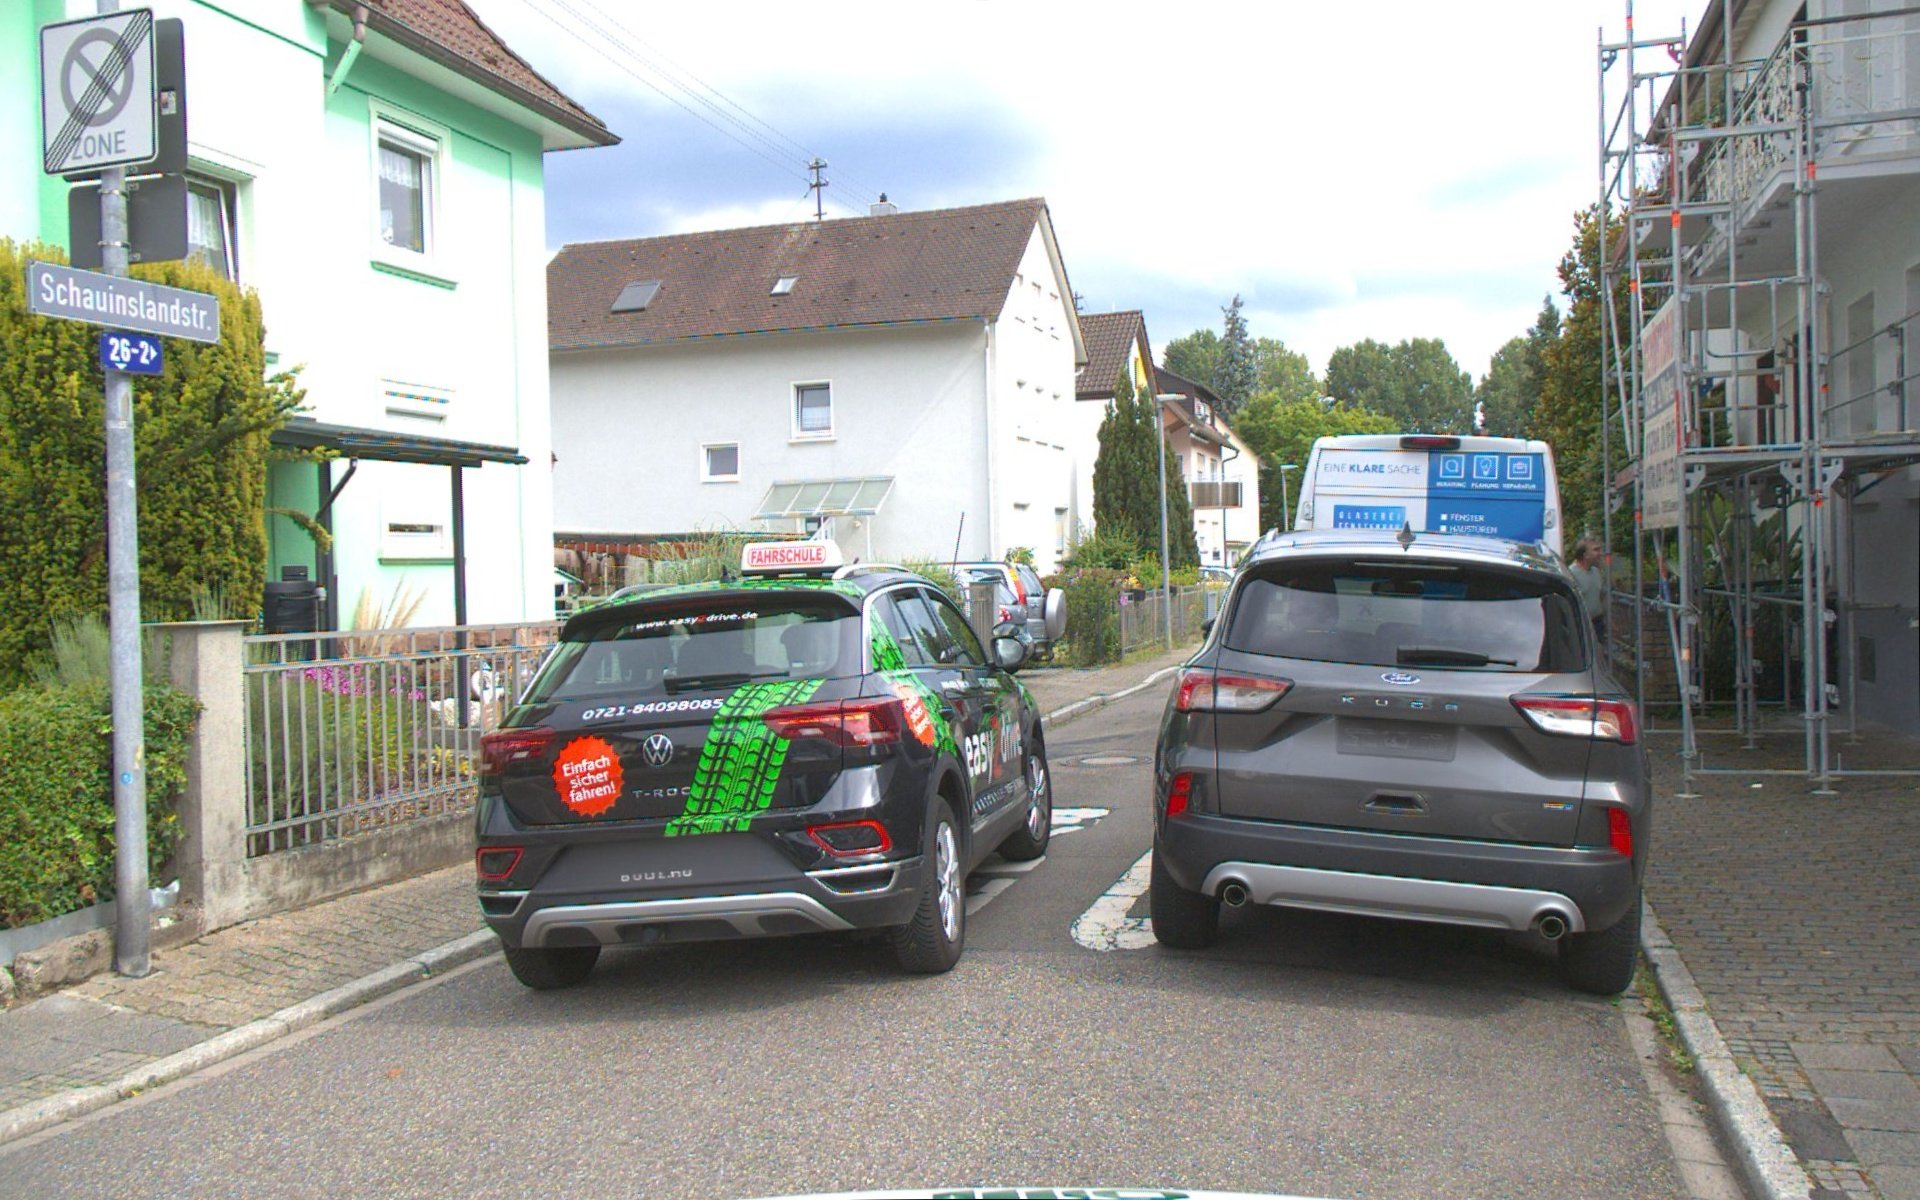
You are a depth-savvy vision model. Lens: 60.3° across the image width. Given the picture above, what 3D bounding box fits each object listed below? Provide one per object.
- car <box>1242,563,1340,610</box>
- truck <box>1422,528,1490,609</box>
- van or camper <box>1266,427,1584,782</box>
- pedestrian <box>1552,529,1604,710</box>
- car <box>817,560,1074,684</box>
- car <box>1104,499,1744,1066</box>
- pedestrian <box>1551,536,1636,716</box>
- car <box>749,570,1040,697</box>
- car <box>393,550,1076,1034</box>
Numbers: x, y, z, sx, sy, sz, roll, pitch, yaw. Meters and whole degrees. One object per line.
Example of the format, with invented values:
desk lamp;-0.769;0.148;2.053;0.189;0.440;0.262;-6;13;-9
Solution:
car;13.818;-0.550;69.055;3.902;1.803;1.871;-2;-1;14
truck;17.598;-1.131;58.889;2.084;2.703;4.588;-2;1;15
van or camper;4.026;-0.007;14.365;2.145;2.502;5.058;-2;1;16
pedestrian;6.241;0.200;16.704;0.399;1.793;0.513;-2;-1;15
car;-0.188;0.316;24.581;3.494;1.696;1.589;-2;0;13
car;1.989;0.538;7.466;1.951;1.757;4.346;-2;1;14
pedestrian;5.970;0.246;15.619;0.610;1.658;0.603;-2;-1;11
car;-0.835;0.426;21.790;3.494;1.527;1.589;-2;0;13
car;-0.641;0.635;7.439;1.777;1.546;4.047;-3;0;11
